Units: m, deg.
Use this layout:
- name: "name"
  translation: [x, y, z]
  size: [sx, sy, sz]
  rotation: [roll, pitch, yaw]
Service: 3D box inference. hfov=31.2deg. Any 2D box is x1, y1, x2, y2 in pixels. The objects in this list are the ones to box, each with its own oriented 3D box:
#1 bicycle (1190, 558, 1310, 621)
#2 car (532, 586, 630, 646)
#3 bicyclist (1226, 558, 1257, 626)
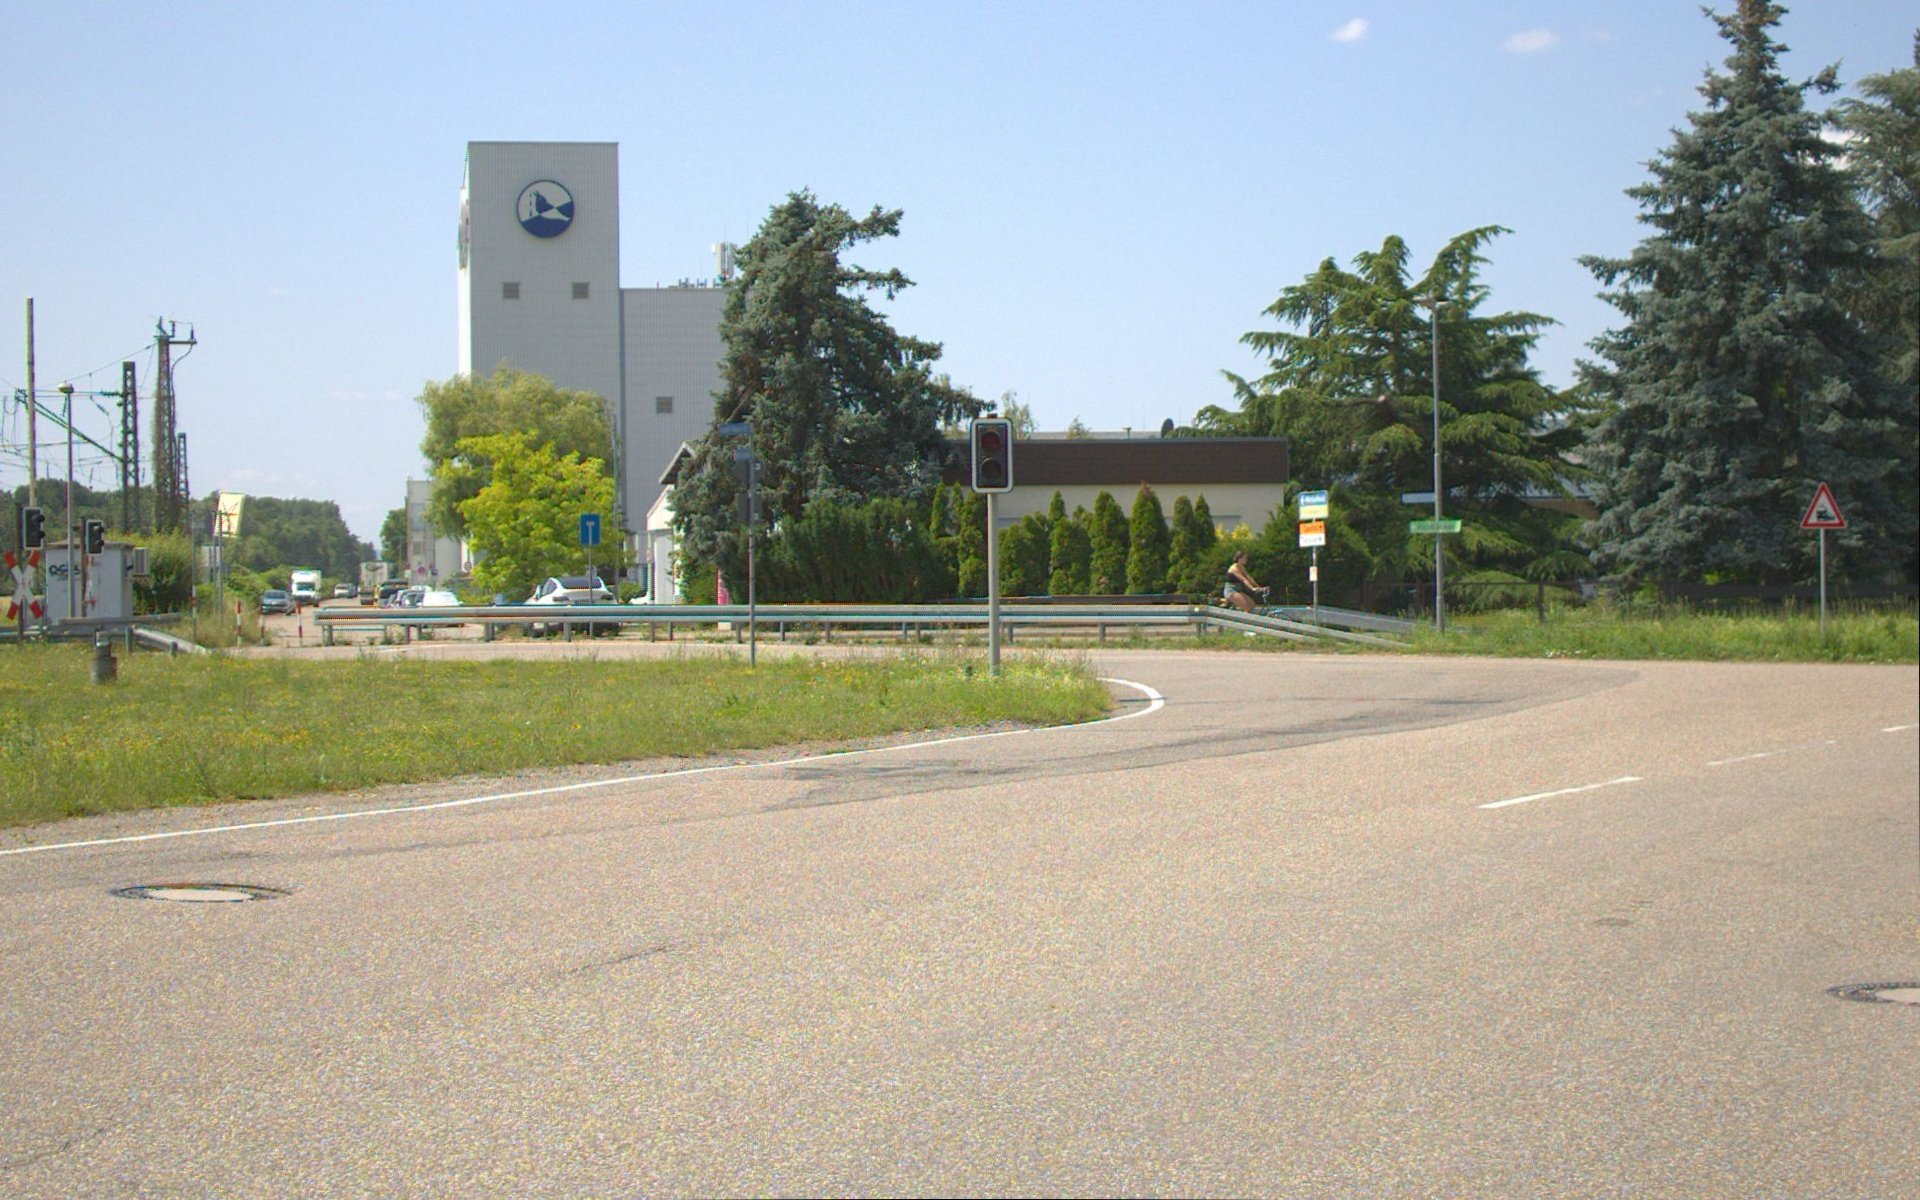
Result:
- name: "bicycle"
  translation: [5.373, -0.193, 63.780]
  size: [2.141, 1.161, 0.661]
  rotation: [0, 1, 14]
- name: "car"
  translation: [-10.131, 0.400, 91.608]
  size: [1.993, 1.504, 4.456]
  rotation: [-1, 1, -14]
- name: "bicyclist"
  translation: [5.223, -0.155, 63.745]
  size: [0.510, 1.251, 0.469]
  rotation: [0, 1, 14]
